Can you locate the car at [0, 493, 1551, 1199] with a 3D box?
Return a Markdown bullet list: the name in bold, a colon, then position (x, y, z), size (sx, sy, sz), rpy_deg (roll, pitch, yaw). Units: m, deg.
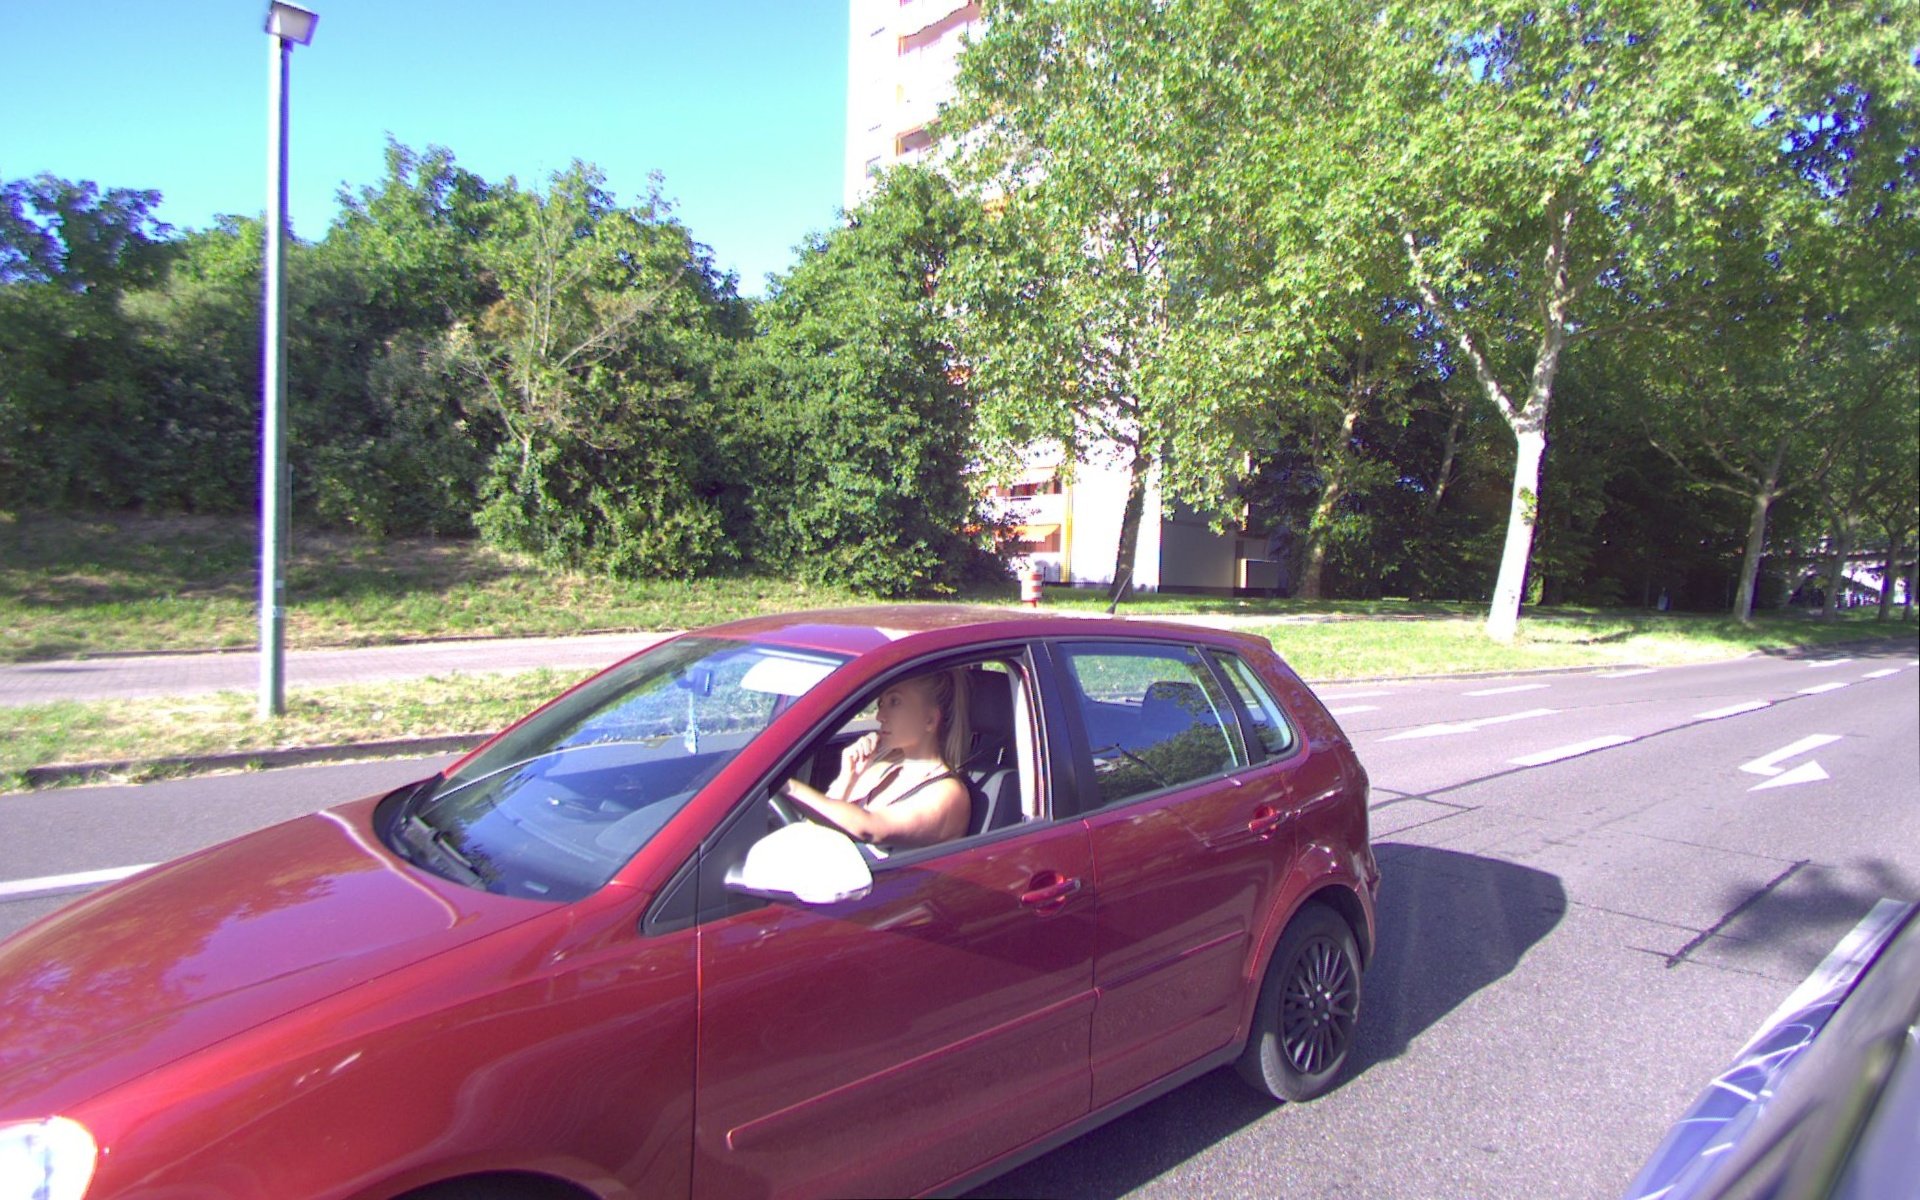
- **car**: position (-0.086, 0.658, 3.095), size (4.641, 1.578, 1.771), rpy_deg (0, 1, -40)
